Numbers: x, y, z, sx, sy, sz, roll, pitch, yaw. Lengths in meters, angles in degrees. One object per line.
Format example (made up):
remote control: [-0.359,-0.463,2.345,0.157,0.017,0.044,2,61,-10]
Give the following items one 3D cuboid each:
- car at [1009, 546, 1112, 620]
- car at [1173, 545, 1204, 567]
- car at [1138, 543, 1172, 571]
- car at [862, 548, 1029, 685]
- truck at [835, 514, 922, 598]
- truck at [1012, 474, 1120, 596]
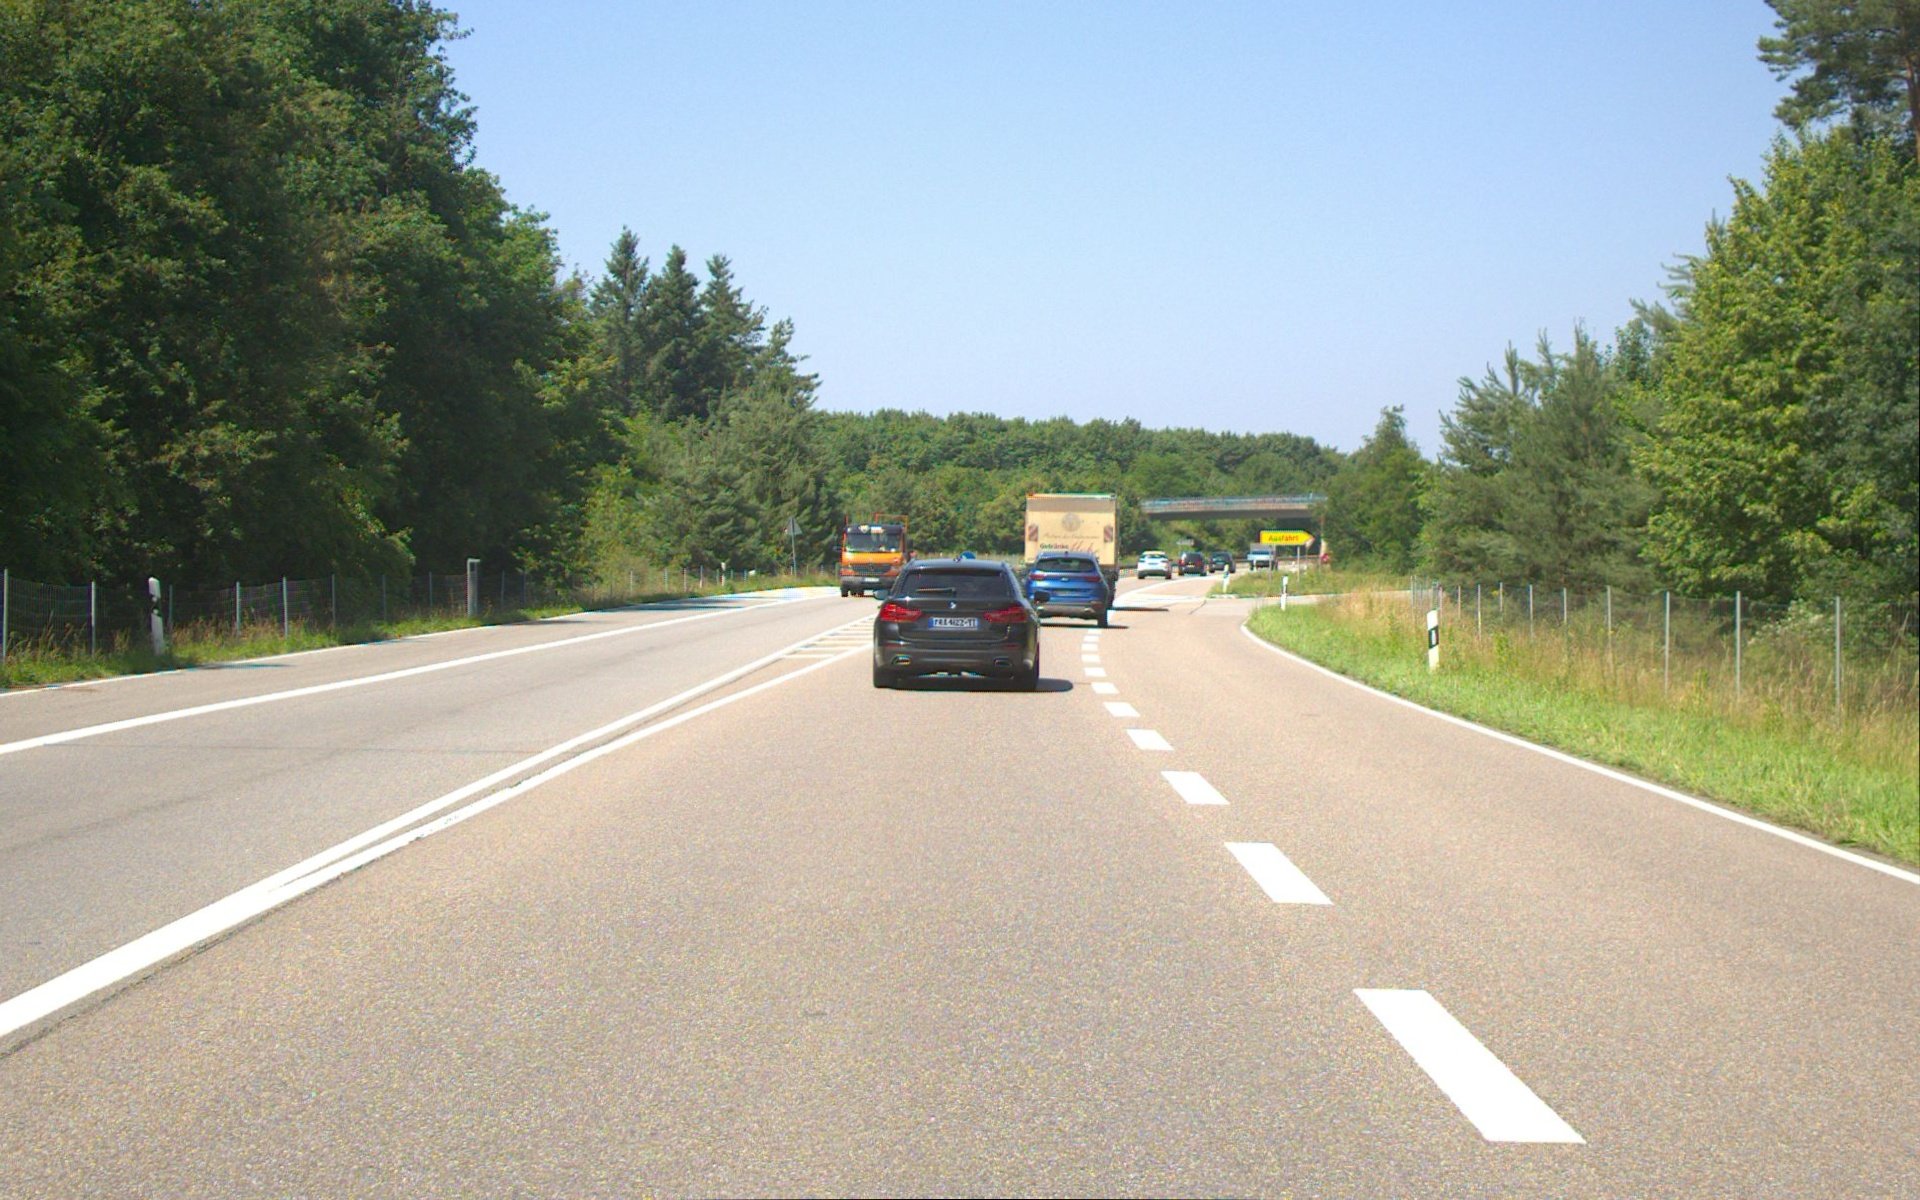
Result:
car: [2.154,-0.388,74.717,1.947,1.536,4.001,-1,1,-2]
car: [15.612,-3.032,234.877,1.994,1.415,4.000,2,1,4]
car: [11.579,-2.543,204.231,1.863,1.600,4.000,1,1,2]
car: [-0.148,0.151,39.680,1.820,1.465,4.000,0,1,0]
truck: [-2.728,-1.510,117.161,2.399,2.713,6.551,1,1,3]
truck: [3.013,-1.868,98.813,2.966,3.376,6.438,0,1,1]
